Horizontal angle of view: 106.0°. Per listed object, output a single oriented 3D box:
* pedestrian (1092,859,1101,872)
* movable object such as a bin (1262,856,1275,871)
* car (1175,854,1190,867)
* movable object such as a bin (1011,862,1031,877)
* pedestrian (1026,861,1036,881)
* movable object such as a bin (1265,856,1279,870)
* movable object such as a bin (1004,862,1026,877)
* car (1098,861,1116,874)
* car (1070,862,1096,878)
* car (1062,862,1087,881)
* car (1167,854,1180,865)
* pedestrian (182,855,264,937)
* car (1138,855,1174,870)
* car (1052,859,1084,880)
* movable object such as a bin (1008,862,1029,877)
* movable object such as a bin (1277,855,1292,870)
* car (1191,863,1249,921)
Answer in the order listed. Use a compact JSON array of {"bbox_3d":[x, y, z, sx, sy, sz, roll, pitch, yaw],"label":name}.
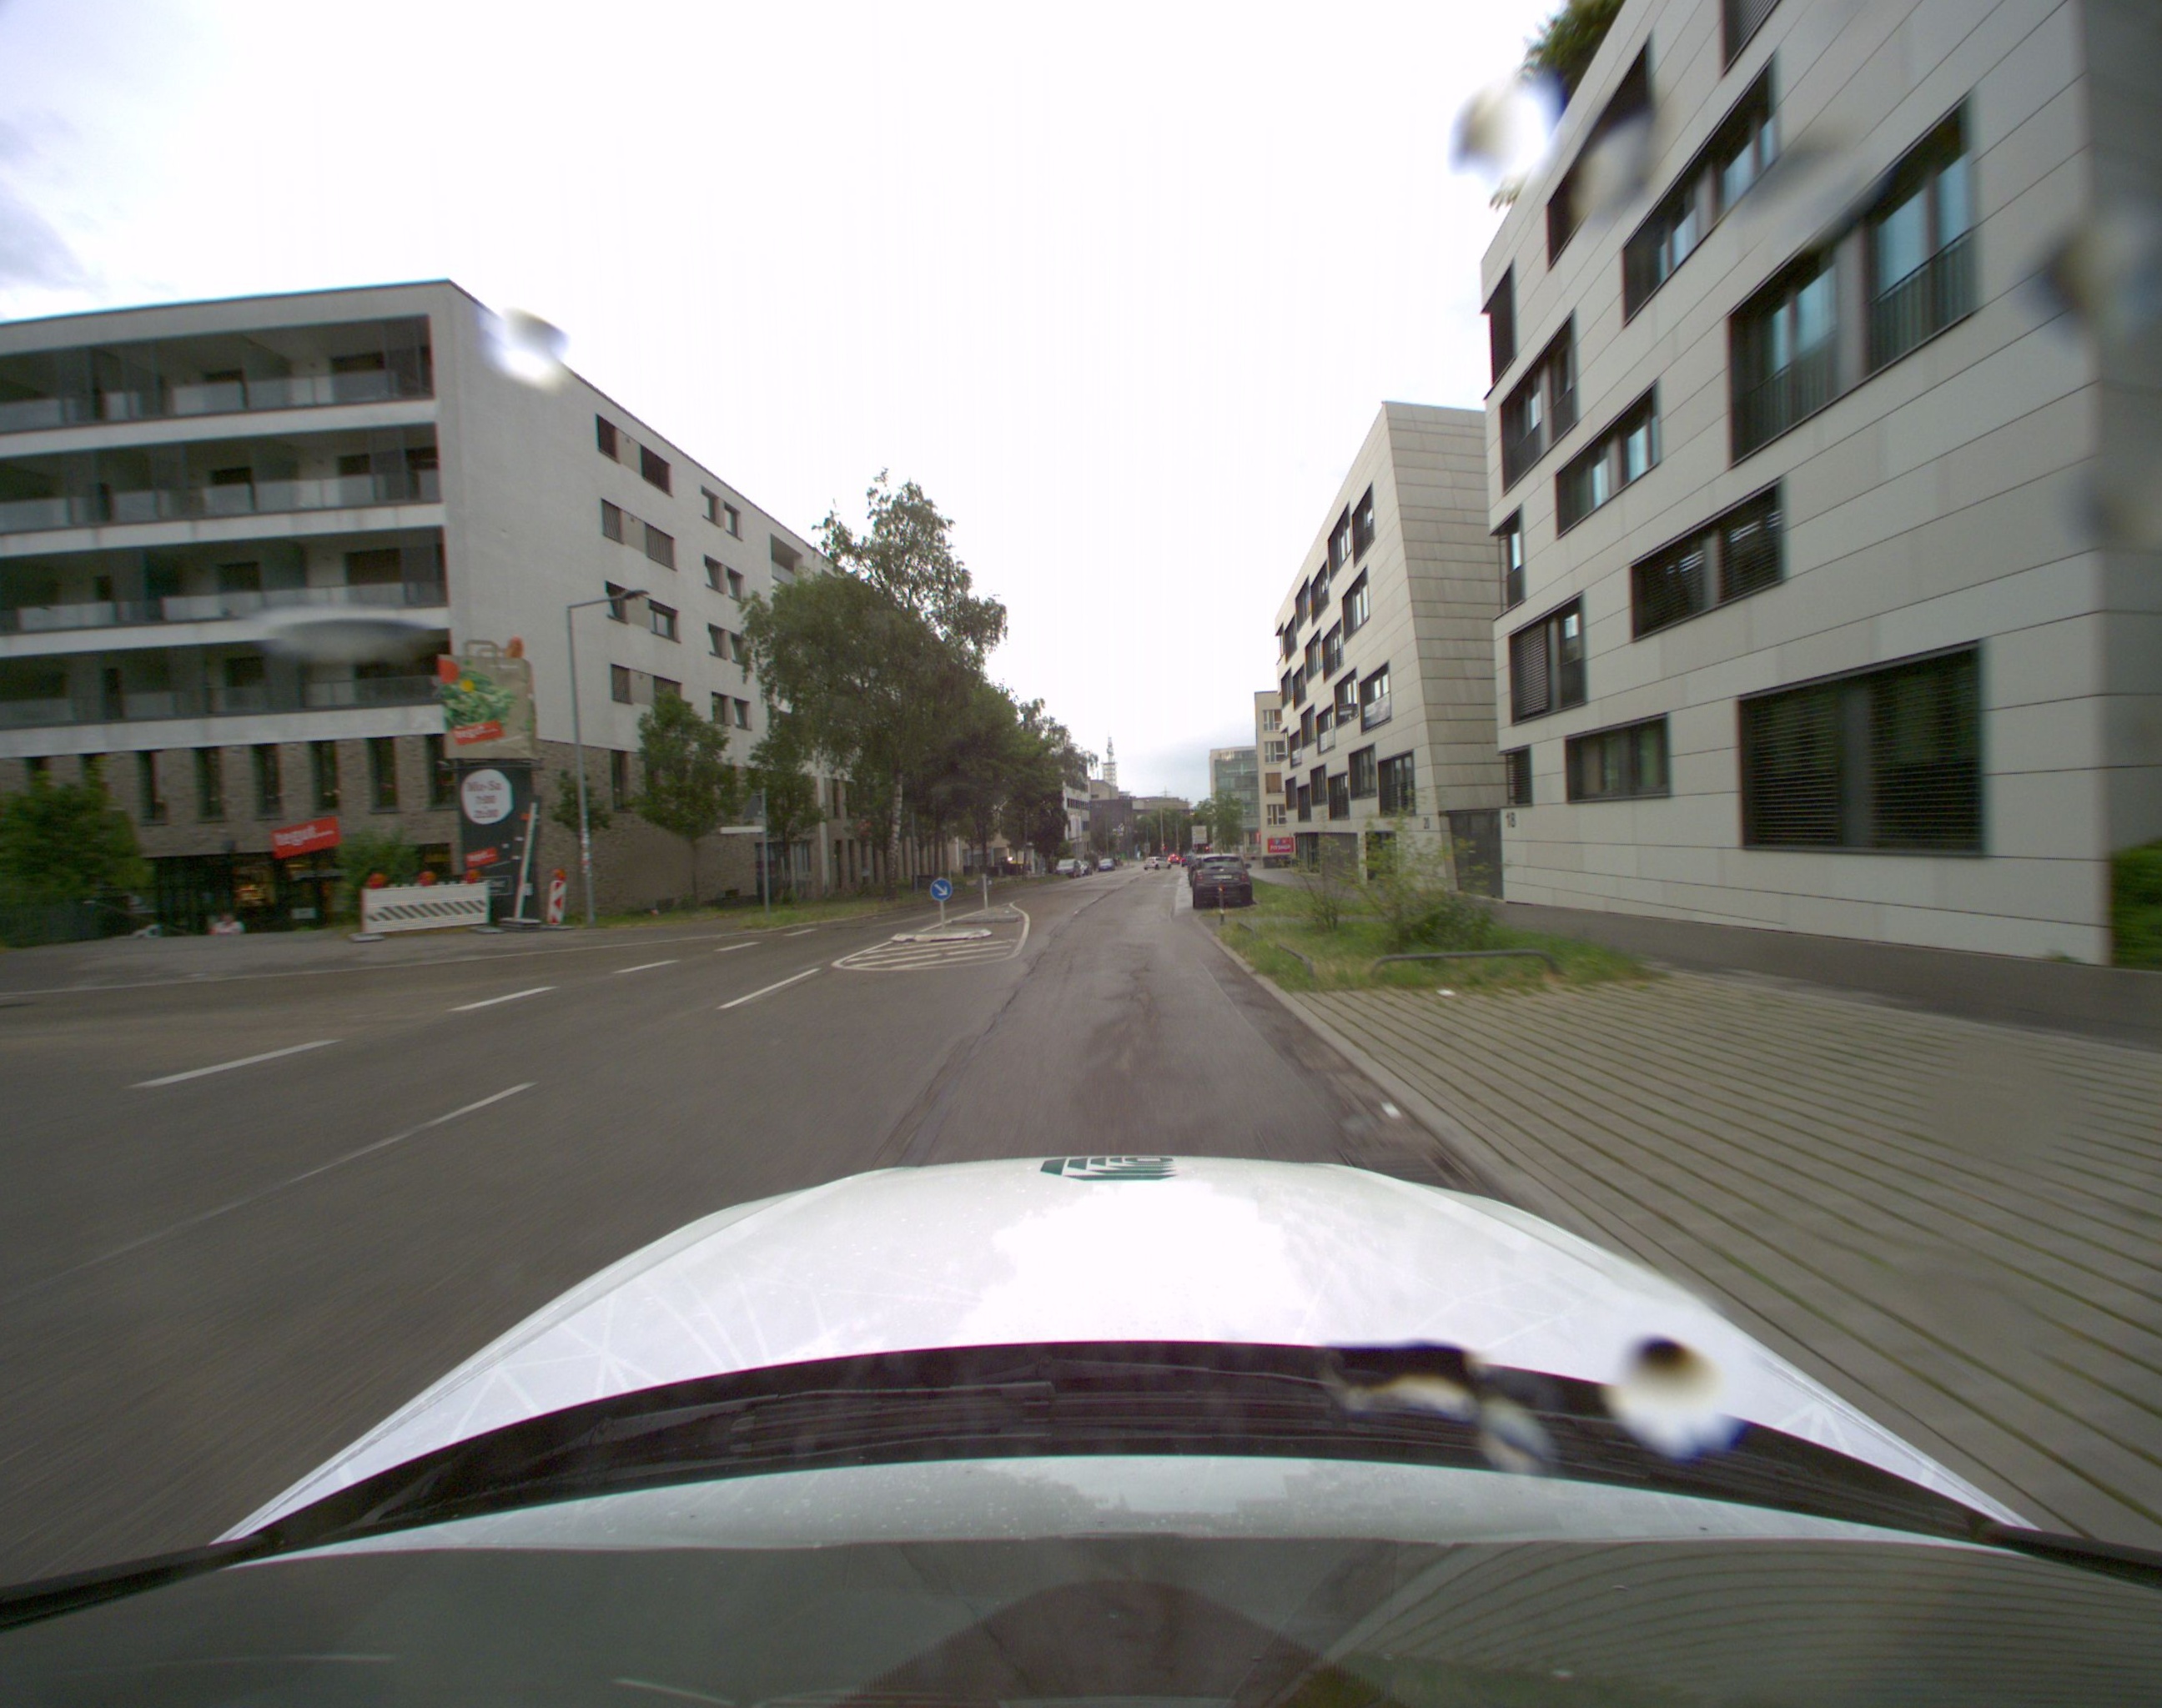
[{"bbox_3d":[1.988,1.477,105.469,0.730,1.708,0.897,-2,-2,-19],"label":"pedestrian"},{"bbox_3d":[18.969,0.939,82.418,1.166,1.503,1.016,-3,-1,10],"label":"movable object such as a bin"},{"bbox_3d":[14.004,0.866,112.037,1.982,1.750,3.681,-3,-1,8],"label":"car"},{"bbox_3d":[-6.325,1.616,85.741,1.787,1.510,1.483,-4,-1,4],"label":"movable object such as a bin"},{"bbox_3d":[-4.298,1.454,69.936,0.705,1.683,0.957,-3,-1,3],"label":"pedestrian"},{"bbox_3d":[18.823,0.898,80.171,1.227,1.320,1.195,-3,-2,9],"label":"movable object such as a bin"},{"bbox_3d":[-6.723,1.582,82.769,2.017,1.430,1.291,-1,-1,4],"label":"movable object such as a bin"},{"bbox_3d":[3.203,1.632,100.652,1.905,1.481,4.362,-2,-1,5],"label":"car"},{"bbox_3d":[0.236,1.604,81.226,1.786,1.516,4.256,-2,-1,9],"label":"car"},{"bbox_3d":[-0.595,1.641,76.554,1.763,1.600,4.040,-3,-1,7],"label":"car"},{"bbox_3d":[15.977,0.961,140.808,2.130,1.728,4.007,-2,-1,6],"label":"car"},{"bbox_3d":[-21.829,1.045,20.742,0.880,2.014,1.117,-1,0,-1],"label":"pedestrian"},{"bbox_3d":[8.680,1.000,93.558,1.975,1.577,4.020,-3,0,44],"label":"car"},{"bbox_3d":[-1.079,1.301,70.894,2.067,1.609,4.694,-4,0,6],"label":"car"},{"bbox_3d":[-6.455,1.597,84.202,2.044,1.423,1.318,-2,-1,4],"label":"movable object such as a bin"},{"bbox_3d":[20.213,0.867,80.902,1.253,1.402,1.115,-3,-1,10],"label":"movable object such as a bin"},{"bbox_3d":[4.109,1.080,24.281,1.537,1.478,3.669,-2,0,9],"label":"car"}]
